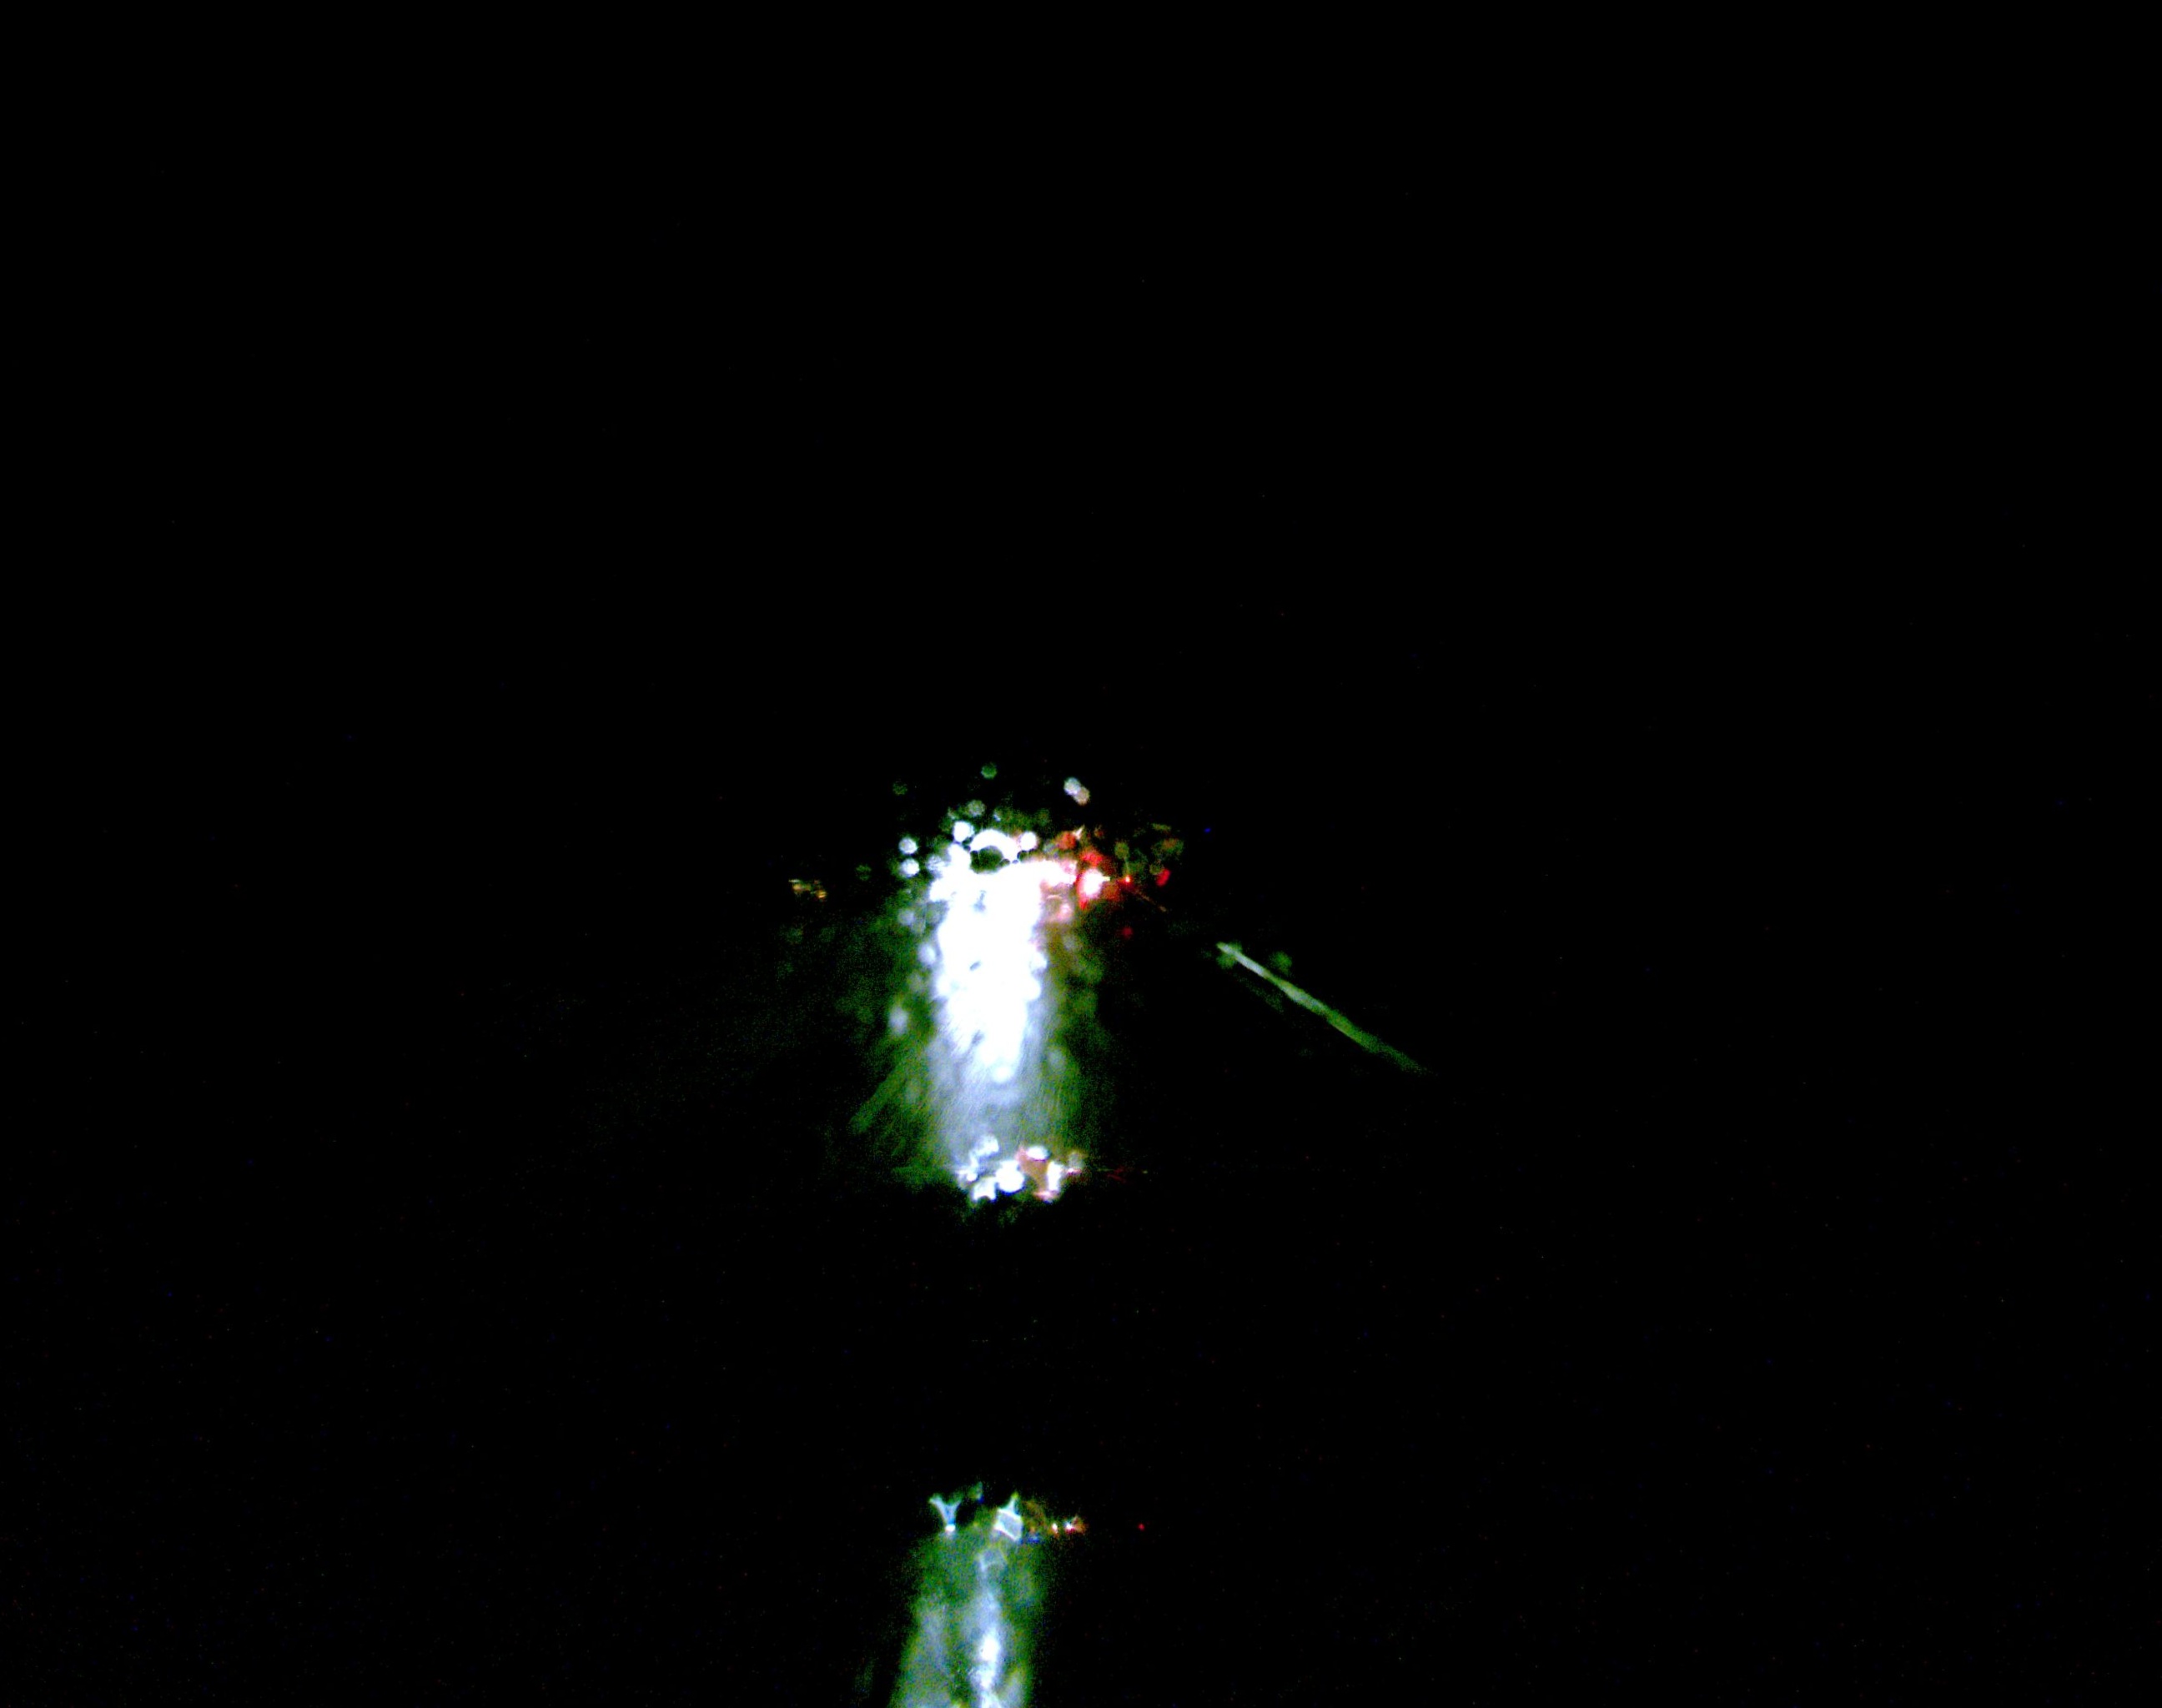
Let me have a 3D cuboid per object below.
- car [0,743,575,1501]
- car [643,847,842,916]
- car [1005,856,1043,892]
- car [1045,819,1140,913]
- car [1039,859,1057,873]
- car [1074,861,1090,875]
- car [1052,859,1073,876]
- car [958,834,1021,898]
[{"bbox_3d":[-3.339,0.605,1.914,1.747,1.734,4.001,0,1,1],"label":"car"},{"bbox_3d":[-9.792,0.779,23.851,4.899,1.734,1.999,-2,0,-2],"label":"car"},{"bbox_3d":[-3.208,1.126,46.397,1.886,1.910,3.793,1,-1,-1],"label":"car"},{"bbox_3d":[0.347,0.321,25.487,2.530,2.498,5.714,-2,0,0],"label":"car"},{"bbox_3d":[-3.500,1.254,86.697,1.654,1.481,3.586,0,-1,2],"label":"car"},{"bbox_3d":[0.150,1.612,93.855,1.654,1.481,3.586,0,-1,2],"label":"car"},{"bbox_3d":[-1.682,1.216,74.779,1.654,1.481,3.586,0,-1,2],"label":"car"},{"bbox_3d":[-3.144,0.439,28.641,1.990,2.067,3.994,1,-1,-4],"label":"car"}]
